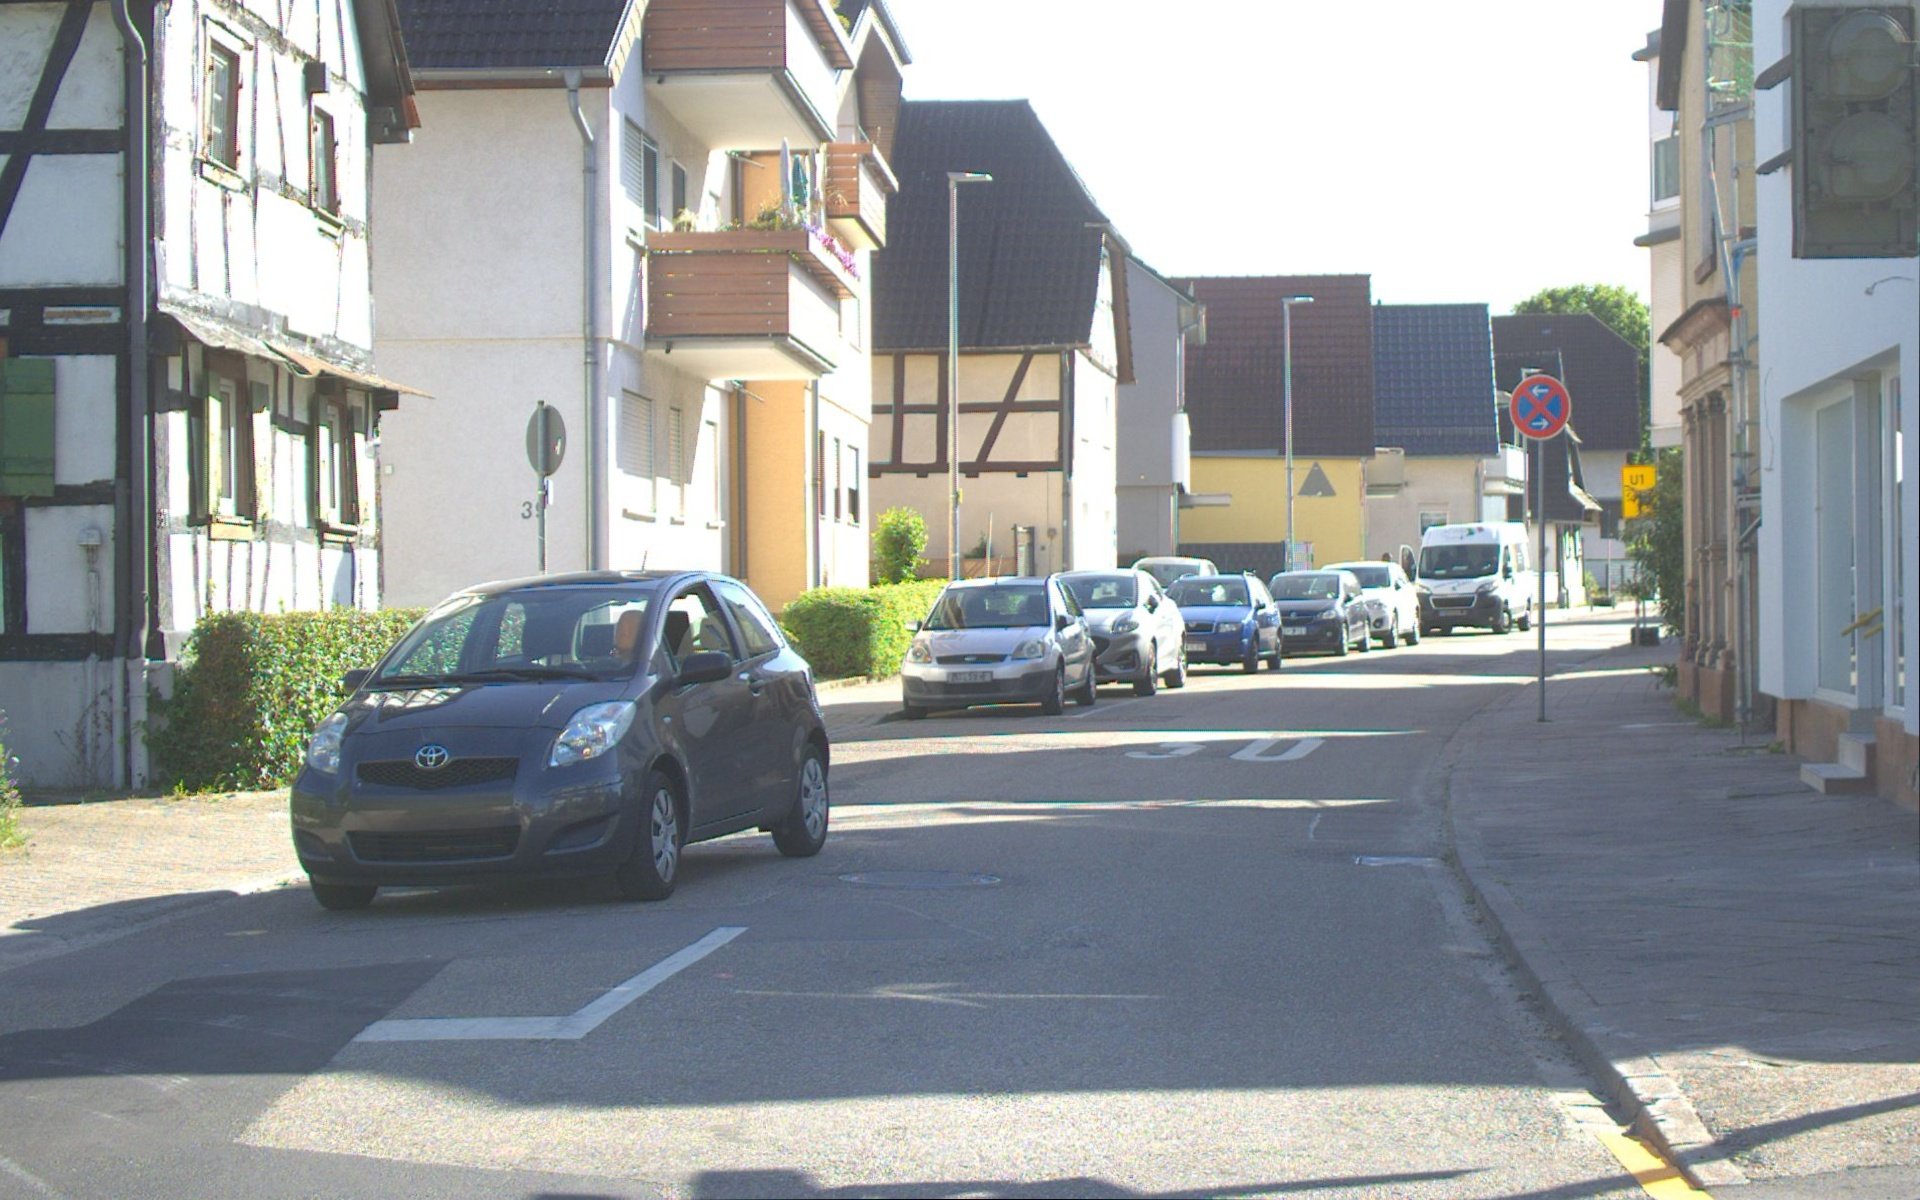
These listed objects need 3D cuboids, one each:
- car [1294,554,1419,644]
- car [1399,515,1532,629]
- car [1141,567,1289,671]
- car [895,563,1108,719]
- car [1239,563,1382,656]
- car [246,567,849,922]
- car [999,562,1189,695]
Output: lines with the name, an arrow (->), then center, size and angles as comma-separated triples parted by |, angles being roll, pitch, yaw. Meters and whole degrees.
car -> 7.447, -0.046, 64.304 | 1.674, 1.566, 3.963 | -2, 0, 16
car -> 11.319, -0.633, 76.733 | 2.078, 2.386, 5.204 | -2, 0, 17
car -> 3.811, 0.256, 50.854 | 1.639, 1.436, 4.073 | -1, 0, 12
car -> 0.500, 0.404, 37.193 | 1.631, 1.501, 3.851 | -3, 0, 10
car -> 6.161, 0.137, 60.078 | 1.705, 1.513, 4.118 | -2, 0, 16
car -> -1.867, 0.624, 16.713 | 1.687, 1.505, 3.652 | -2, 0, 14
car -> 1.694, 0.316, 42.129 | 1.674, 1.501, 4.092 | -2, 1, 11
